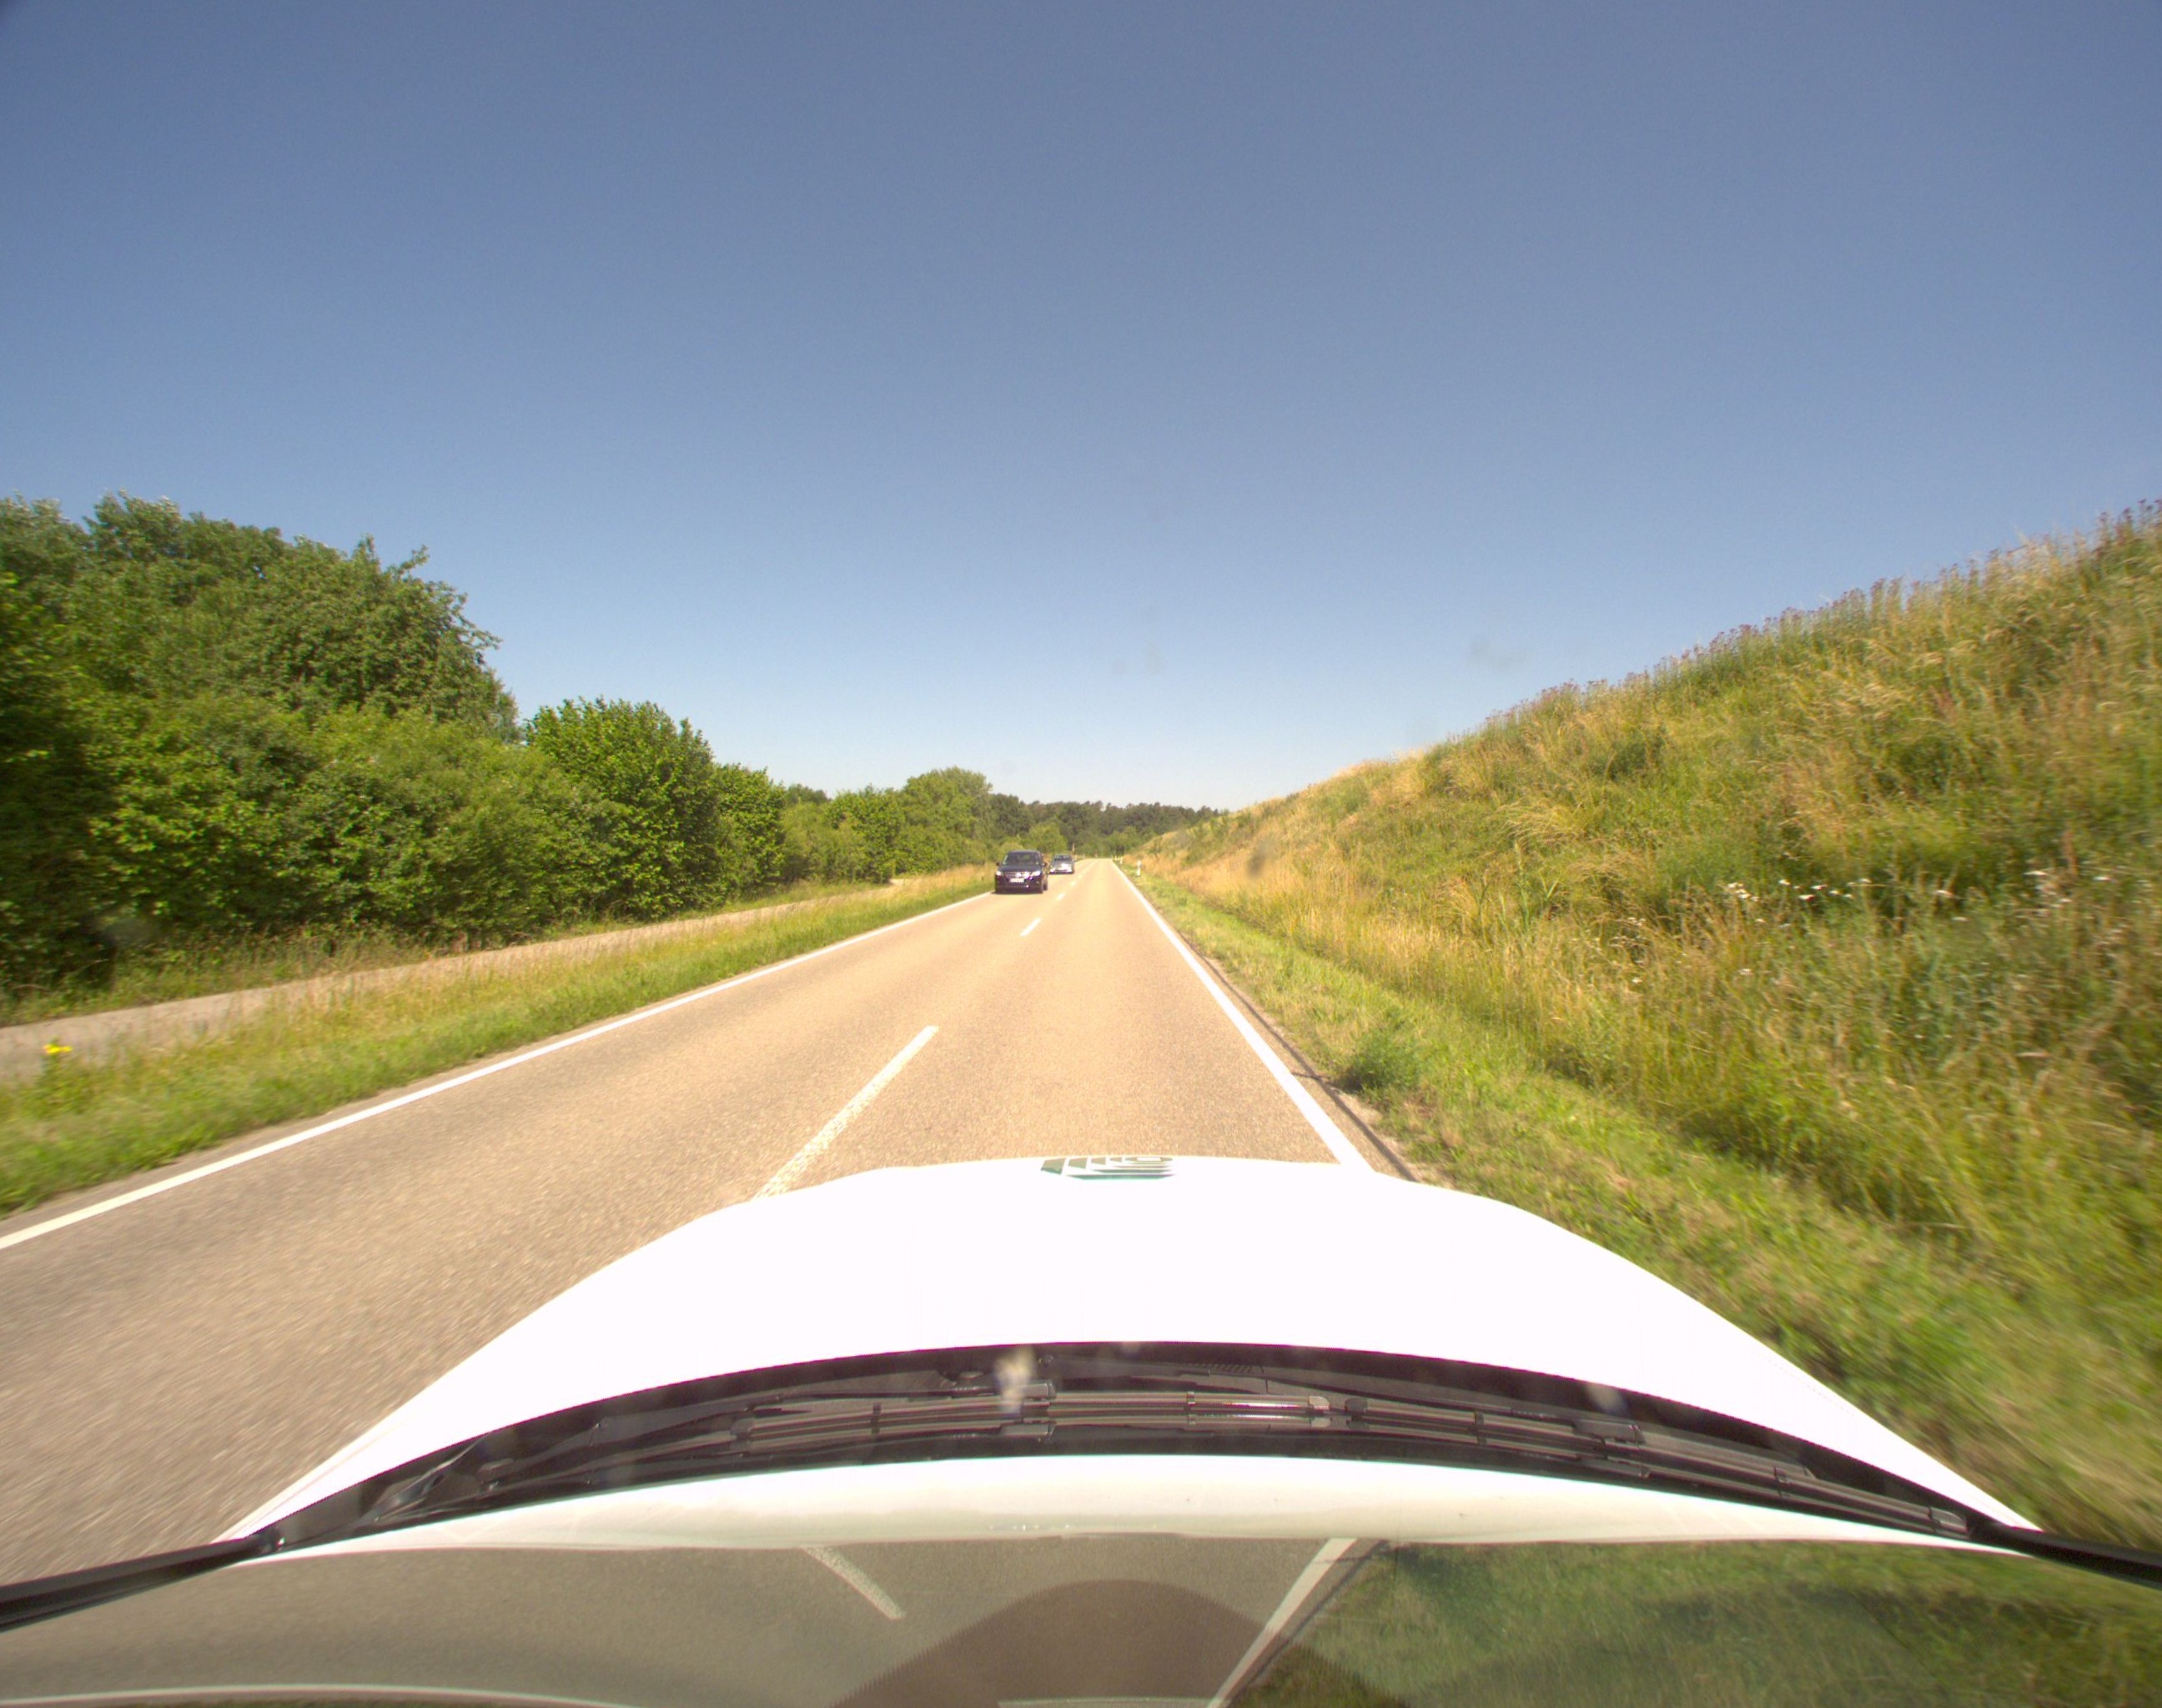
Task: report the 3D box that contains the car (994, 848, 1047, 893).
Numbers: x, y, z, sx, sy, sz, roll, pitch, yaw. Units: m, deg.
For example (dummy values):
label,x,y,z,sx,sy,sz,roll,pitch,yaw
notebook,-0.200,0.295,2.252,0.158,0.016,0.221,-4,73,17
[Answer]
label,x,y,z,sx,sy,sz,roll,pitch,yaw
car,-2.300,0.594,31.898,1.710,1.647,3.915,0,0,1

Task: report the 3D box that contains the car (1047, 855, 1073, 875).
label,x,y,z,sx,sy,sz,roll,pitch,yaw
car,-1.509,0.799,59.942,1.716,1.354,4.001,1,0,1
